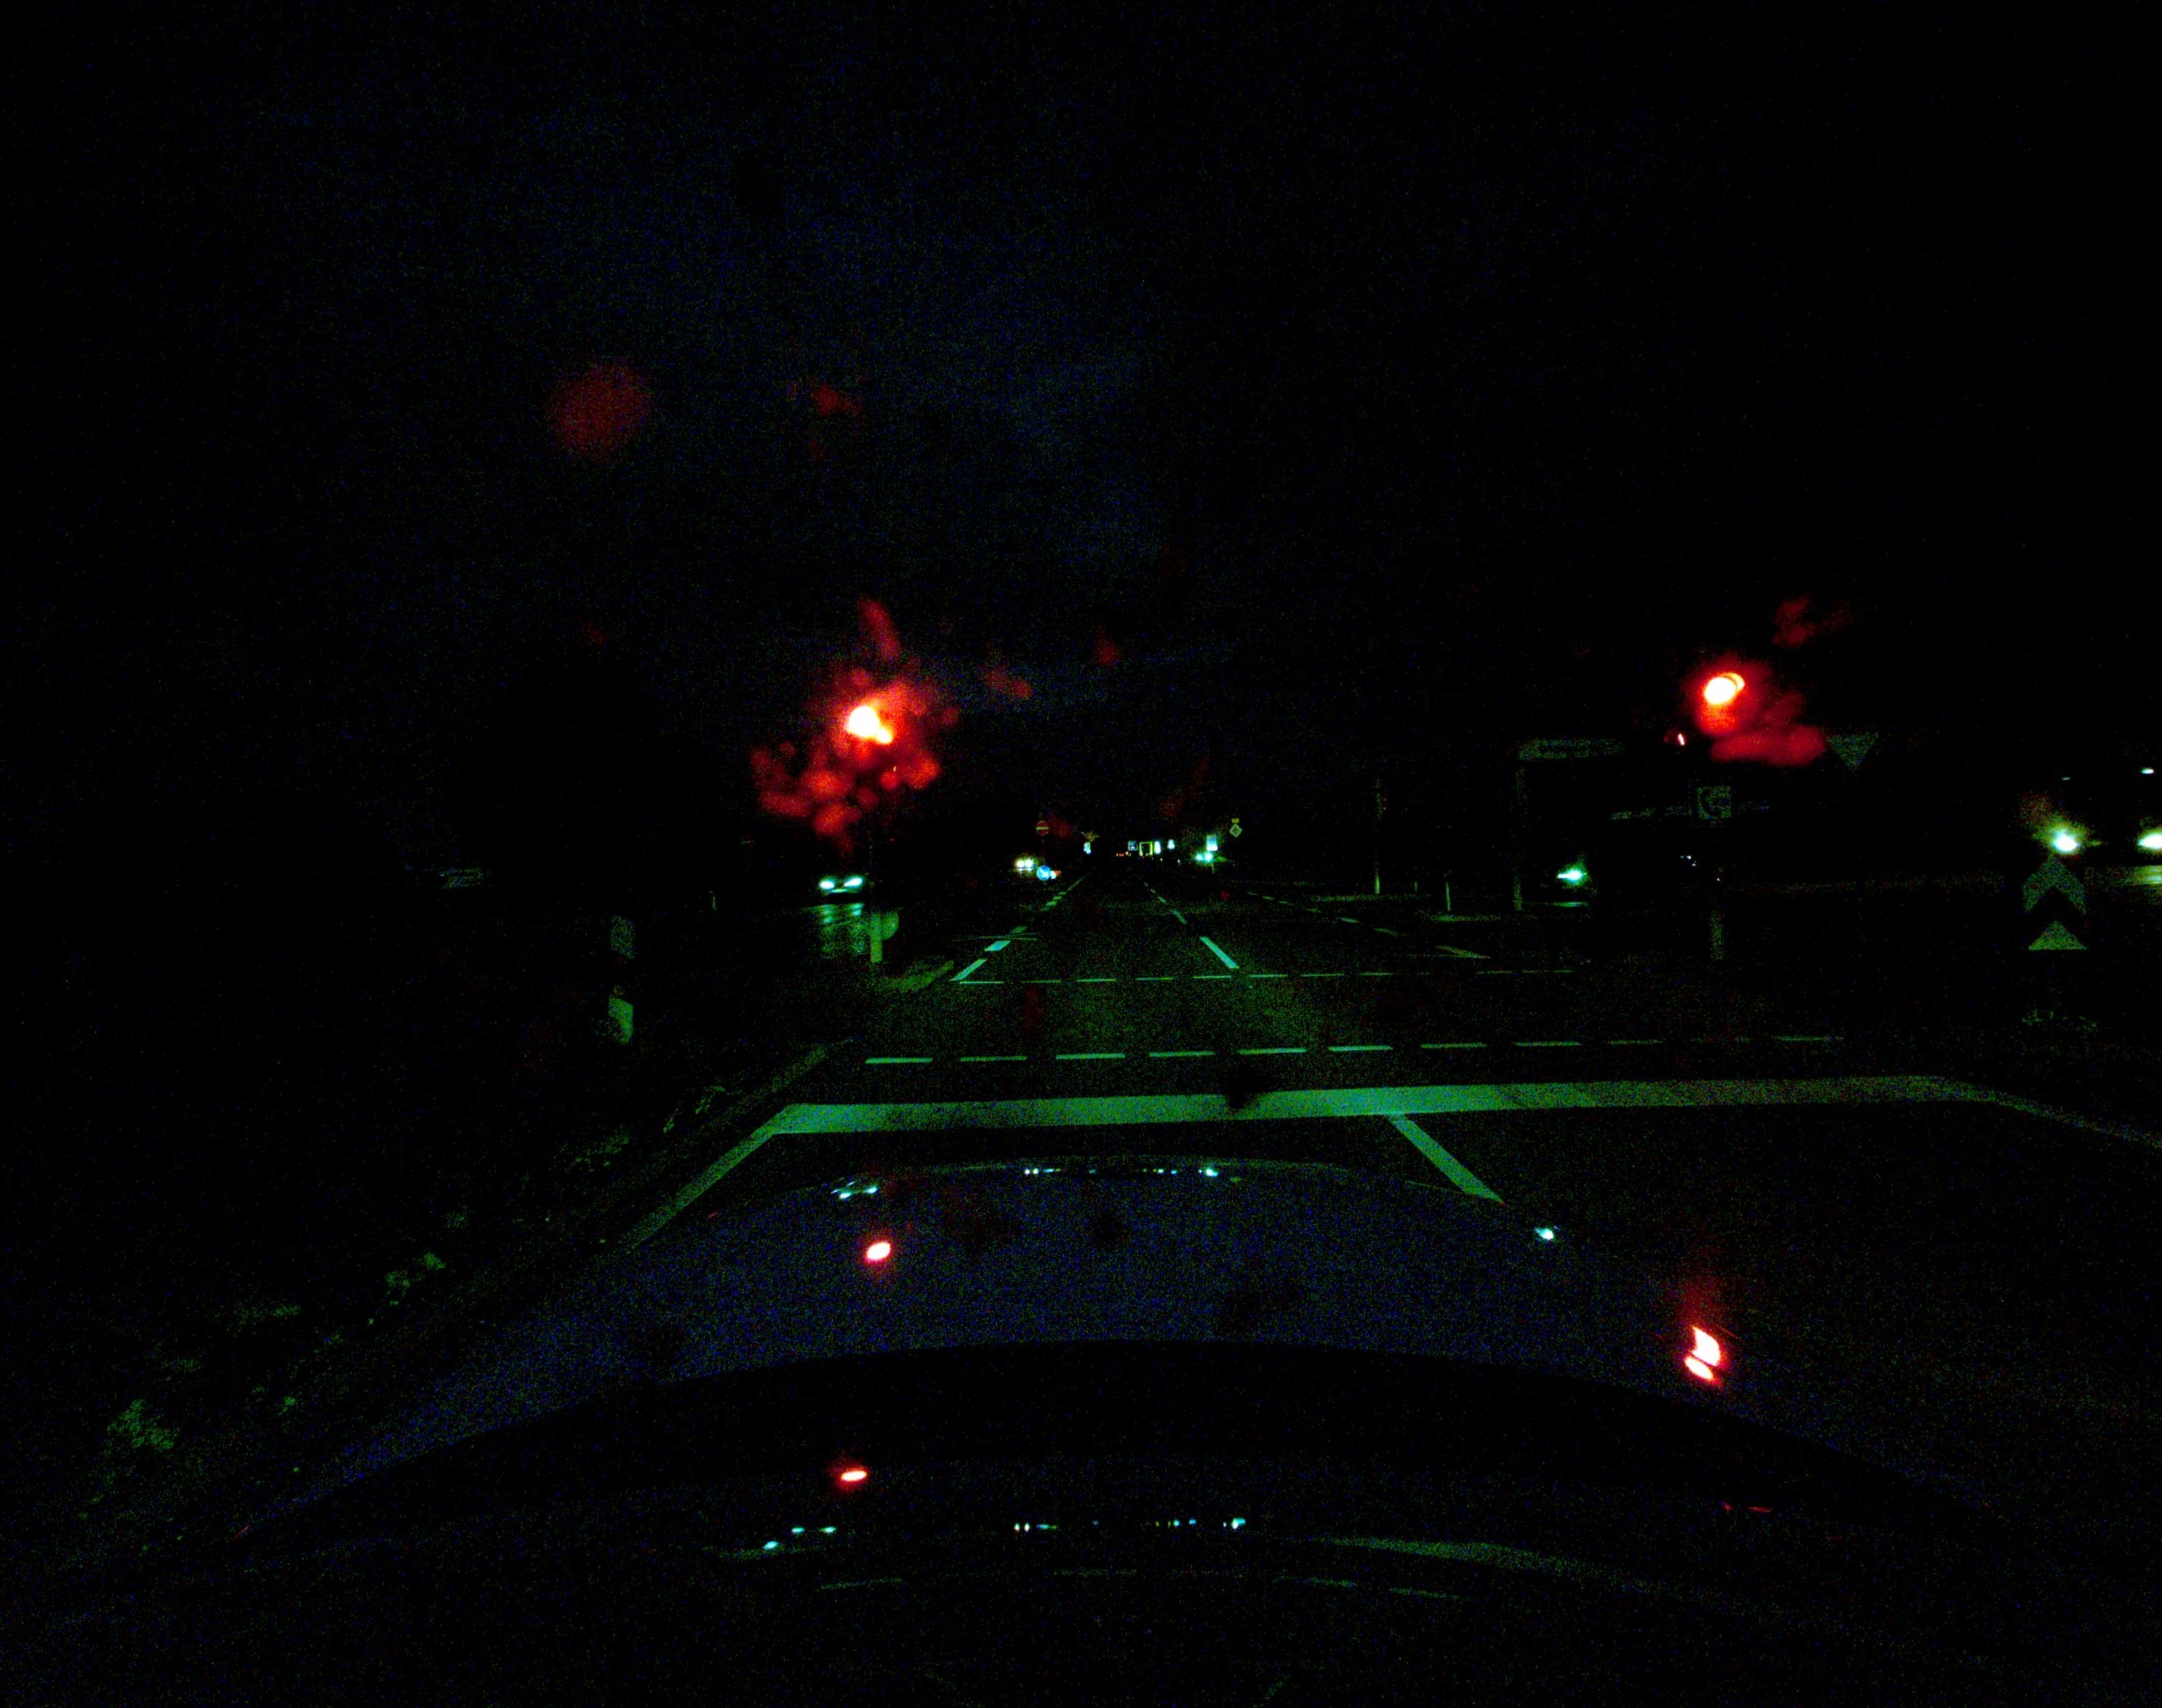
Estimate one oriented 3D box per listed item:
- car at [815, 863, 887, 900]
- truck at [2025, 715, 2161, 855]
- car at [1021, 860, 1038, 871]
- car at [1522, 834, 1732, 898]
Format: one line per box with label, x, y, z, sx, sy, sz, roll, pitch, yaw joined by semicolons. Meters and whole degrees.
car;-10.649;1.236;38.099;1.986;1.519;4.299;-2;0;2
truck;35.714;-2.242;25.549;10.033;3.979;2.917;-3;0;-8
car;-7.515;1.656;119.535;1.986;1.387;4.002;-2;0;2
car;15.414;0.333;23.187;4.583;1.520;2.001;-3;0;2
